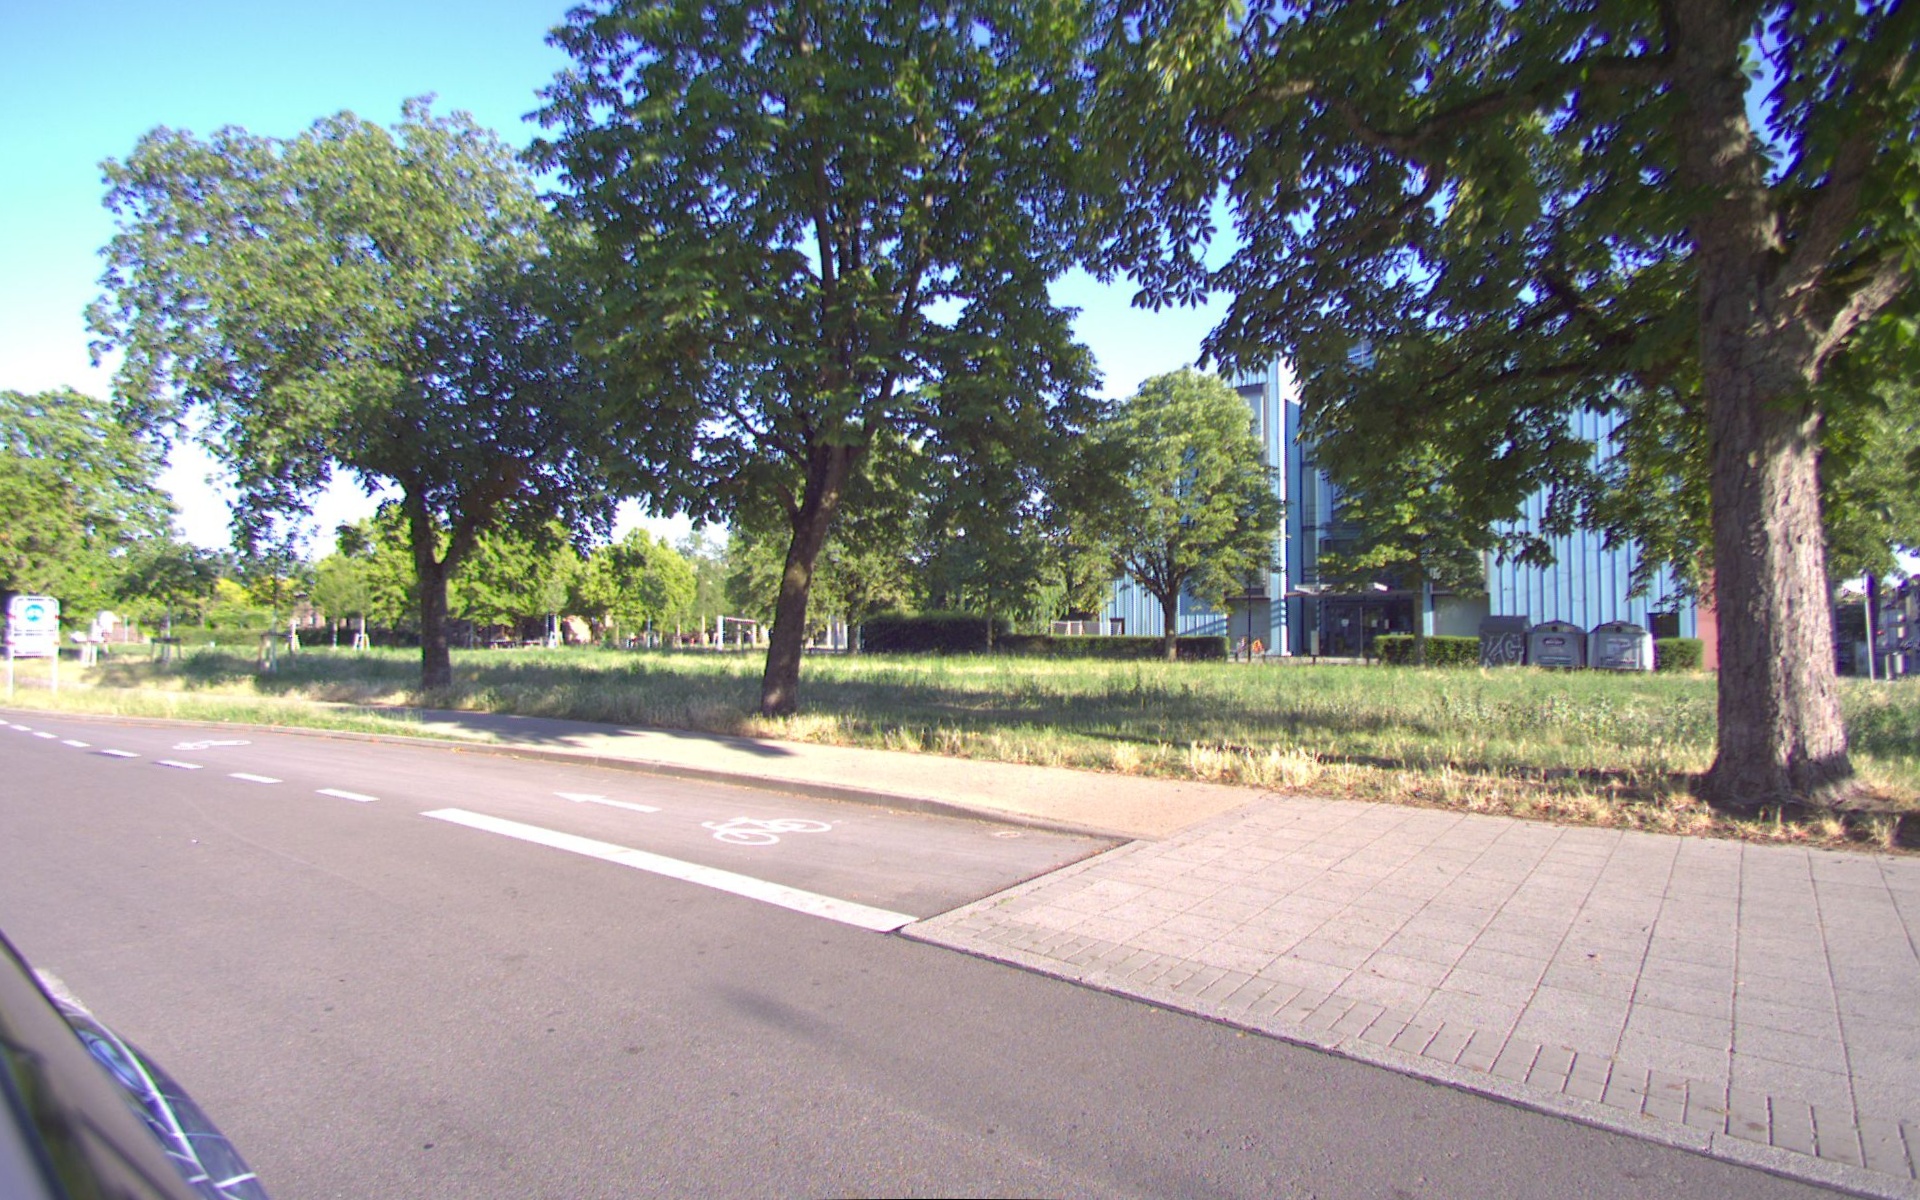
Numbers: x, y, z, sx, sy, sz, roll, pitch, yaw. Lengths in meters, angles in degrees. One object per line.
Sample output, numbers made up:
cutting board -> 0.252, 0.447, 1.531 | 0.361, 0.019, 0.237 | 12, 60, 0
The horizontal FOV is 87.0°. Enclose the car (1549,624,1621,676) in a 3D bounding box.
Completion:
car -> 21.724, 1.709, 35.287 | 1.961, 1.684, 5.168 | -1, -2, 31

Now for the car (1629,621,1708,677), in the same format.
car -> 23.685, 1.678, 33.761 | 1.996, 1.684, 5.158 | -1, -4, 37
